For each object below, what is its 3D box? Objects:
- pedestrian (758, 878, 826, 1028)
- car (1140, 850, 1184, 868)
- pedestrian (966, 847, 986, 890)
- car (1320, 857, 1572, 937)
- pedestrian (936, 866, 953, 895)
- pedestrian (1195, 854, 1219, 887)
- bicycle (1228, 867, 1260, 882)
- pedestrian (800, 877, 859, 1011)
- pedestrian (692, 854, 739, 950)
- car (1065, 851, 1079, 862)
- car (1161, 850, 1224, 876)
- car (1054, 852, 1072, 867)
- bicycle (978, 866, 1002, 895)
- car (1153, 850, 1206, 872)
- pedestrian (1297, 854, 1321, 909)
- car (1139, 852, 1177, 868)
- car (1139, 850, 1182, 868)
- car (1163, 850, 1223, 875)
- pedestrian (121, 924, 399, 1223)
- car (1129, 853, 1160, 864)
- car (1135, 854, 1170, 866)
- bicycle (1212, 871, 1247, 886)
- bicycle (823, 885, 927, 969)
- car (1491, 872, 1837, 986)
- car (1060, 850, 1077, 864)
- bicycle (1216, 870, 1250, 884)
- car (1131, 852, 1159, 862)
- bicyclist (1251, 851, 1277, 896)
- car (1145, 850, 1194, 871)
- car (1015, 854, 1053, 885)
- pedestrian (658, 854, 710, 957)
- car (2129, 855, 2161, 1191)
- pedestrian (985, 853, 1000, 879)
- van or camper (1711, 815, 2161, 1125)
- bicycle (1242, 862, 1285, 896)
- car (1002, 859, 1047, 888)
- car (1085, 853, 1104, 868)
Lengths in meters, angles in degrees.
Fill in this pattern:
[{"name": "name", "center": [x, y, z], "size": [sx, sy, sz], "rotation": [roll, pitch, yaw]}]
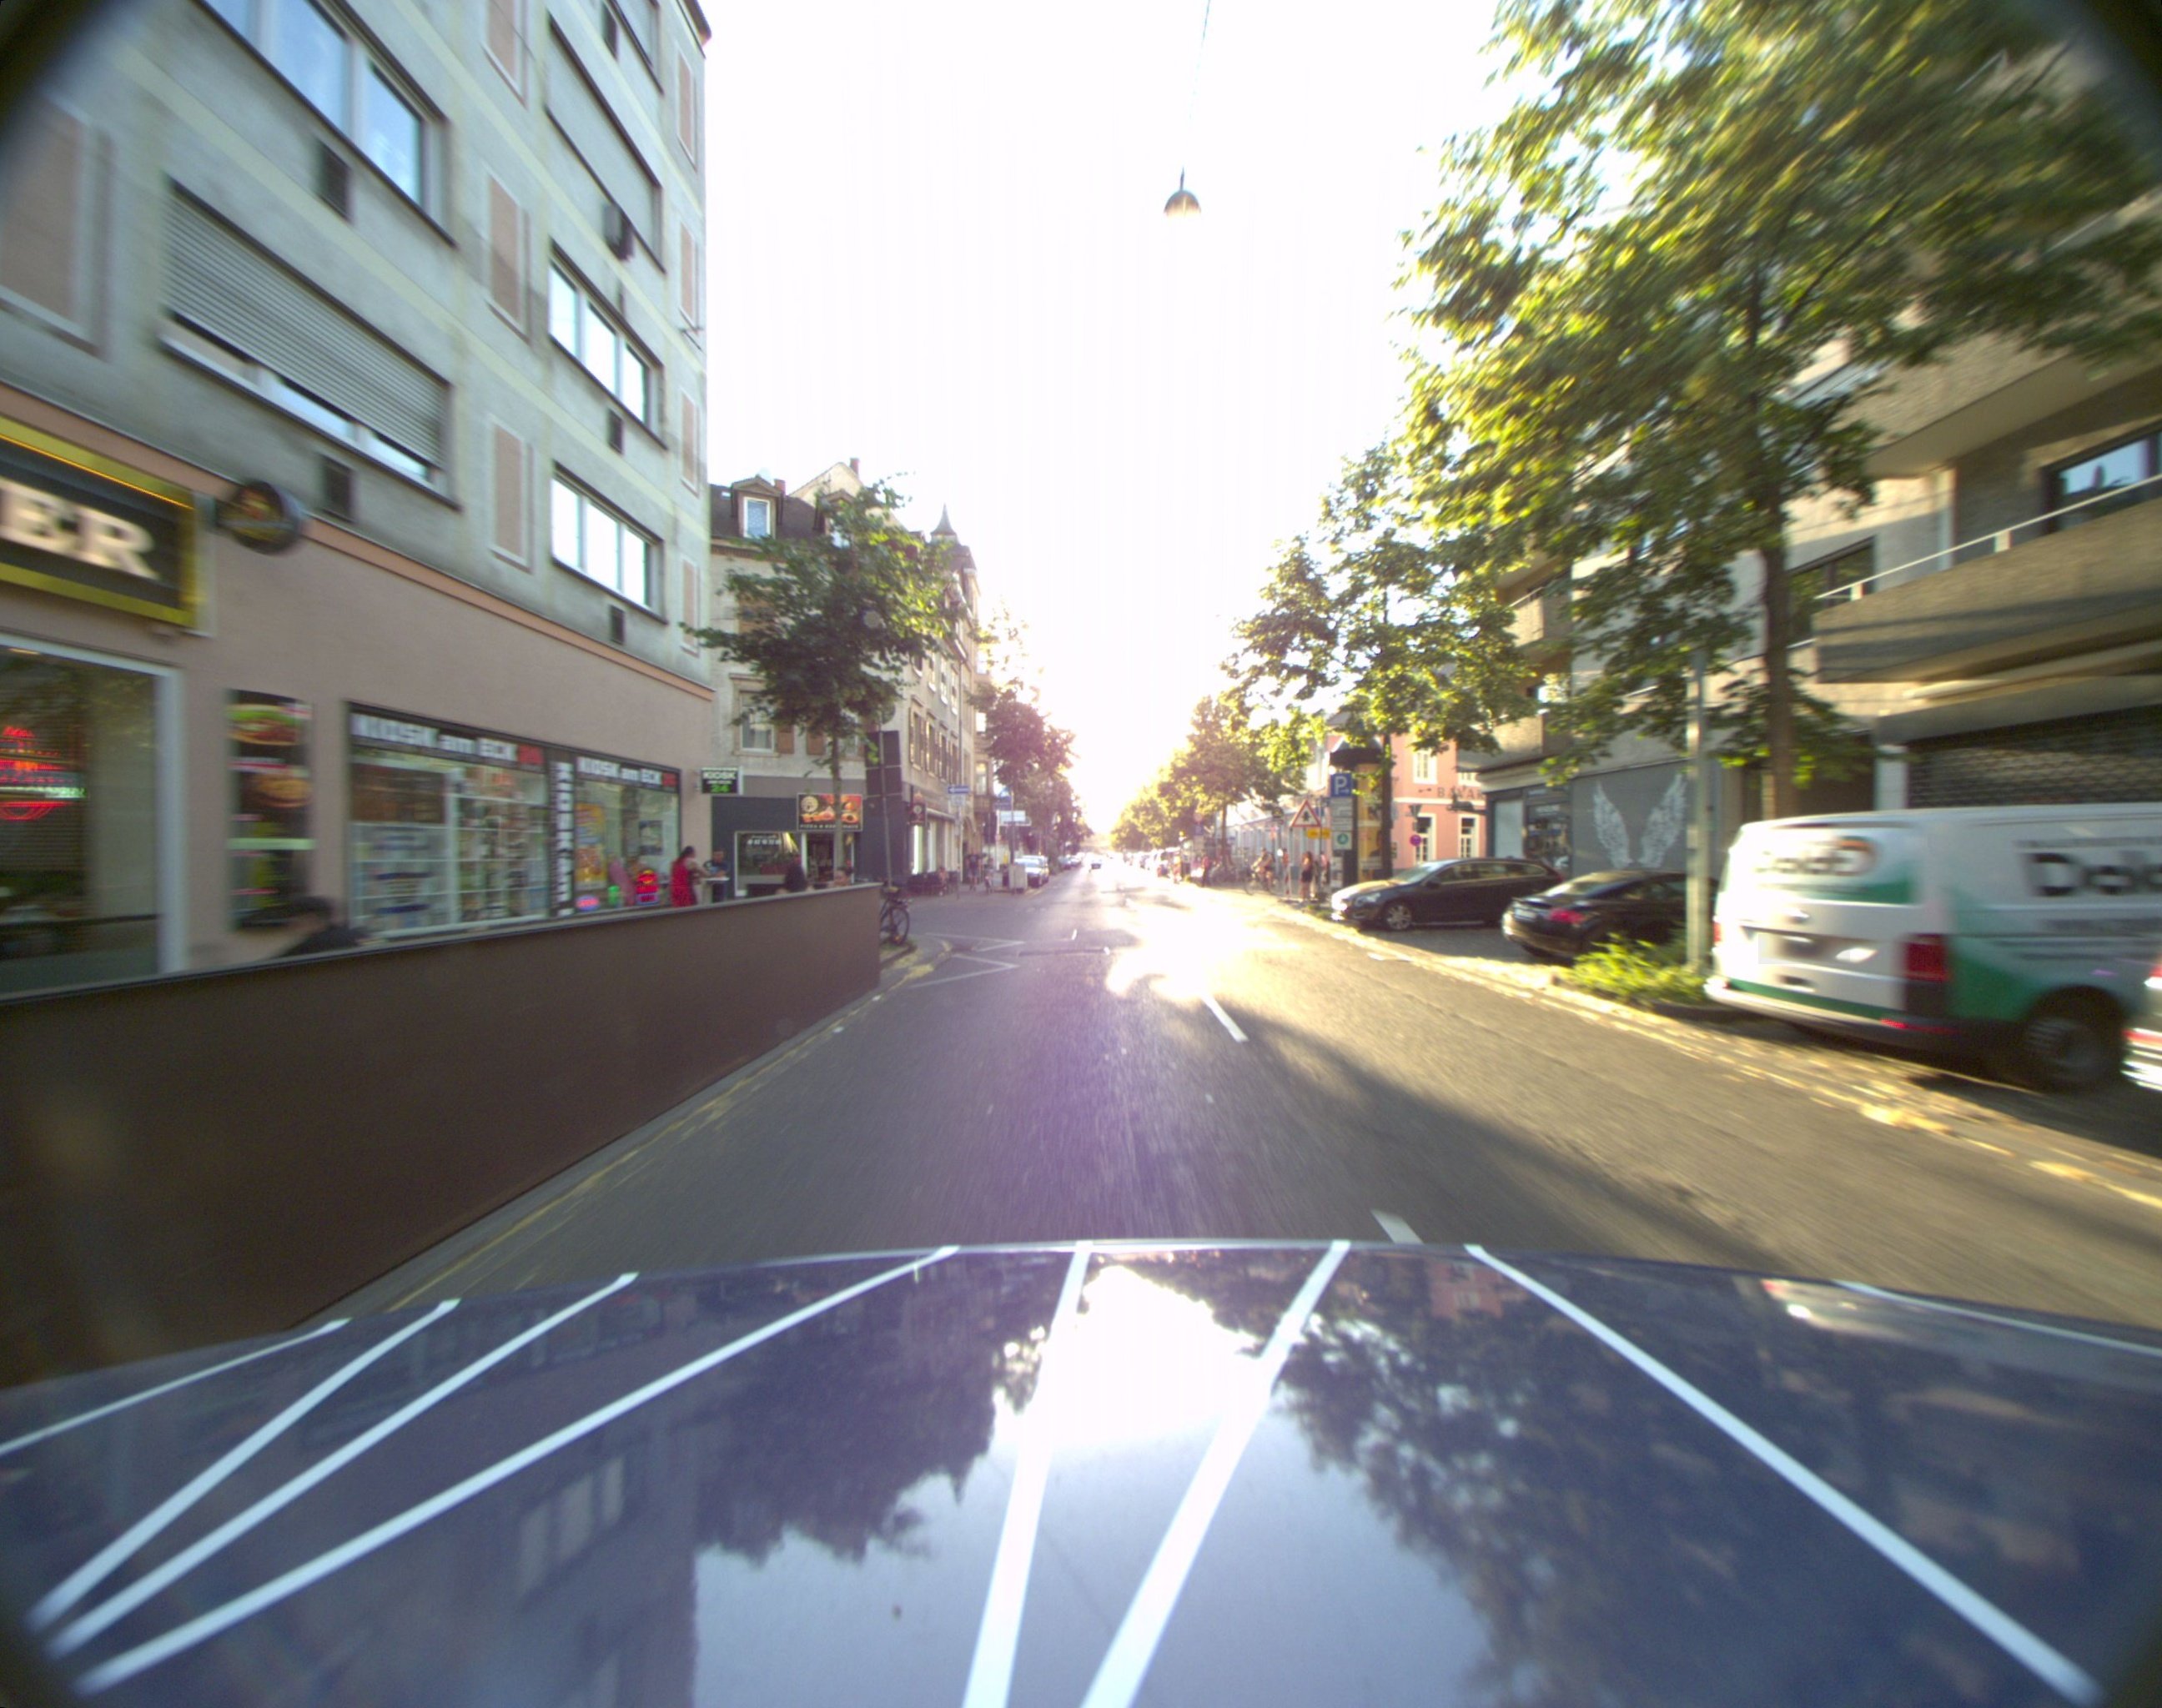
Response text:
[{"name": "pedestrian", "center": [-2.981, 1.001, 7.871], "size": [0.448, 1.472, 0.547], "rotation": [2, 1, 2]}, {"name": "car", "center": [8.638, 0.539, 81.372], "size": [4.439, 1.832, 1.814], "rotation": [-1, 0, 0]}, {"name": "pedestrian", "center": [-4.709, 0.644, 34.101], "size": [0.719, 1.864, 0.756], "rotation": [2, 1, 2]}, {"name": "car", "center": [7.569, 0.862, 16.053], "size": [4.439, 1.516, 1.814], "rotation": [-1, 0, 0]}, {"name": "pedestrian", "center": [-5.527, 1.074, 30.760], "size": [0.551, 1.128, 0.648], "rotation": [2, 1, 2]}, {"name": "pedestrian", "center": [6.380, 0.826, 38.586], "size": [0.898, 1.671, 0.795], "rotation": [-1, 1, -36]}, {"name": "bicycle", "center": [9.145, 1.145, 42.670], "size": [1.801, 0.858, 0.444], "rotation": [0, 1, -23]}, {"name": "pedestrian", "center": [-2.888, 1.016, 8.761], "size": [0.448, 1.472, 0.563], "rotation": [2, 1, 2]}, {"name": "pedestrian", "center": [-6.339, 0.815, 13.190], "size": [0.493, 1.614, 0.573], "rotation": [2, 1, 2]}, {"name": "car", "center": [-1.336, 0.346, 110.133], "size": [1.825, 1.658, 4.155], "rotation": [-1, 0, 2]}, {"name": "car", "center": [8.382, 0.687, 57.402], "size": [4.439, 1.832, 1.814], "rotation": [-1, 0, 0]}, {"name": "car", "center": [-1.959, 0.604, 84.476], "size": [1.825, 1.658, 4.155], "rotation": [-1, 0, 2]}, {"name": "bicycle", "center": [-3.765, 1.082, 31.621], "size": [0.478, 1.101, 2.062], "rotation": [0, 0, 8]}, {"name": "car", "center": [8.721, 0.583, 67.311], "size": [4.439, 1.832, 1.814], "rotation": [-1, 0, 0]}, {"name": "pedestrian", "center": [6.933, 0.815, 23.108], "size": [0.550, 1.638, 0.721], "rotation": [0, 1, 4]}, {"name": "car", "center": [8.678, 0.682, 85.880], "size": [4.151, 1.771, 1.827], "rotation": [0, 0, 1]}, {"name": "car", "center": [8.682, 0.546, 83.388], "size": [4.439, 1.832, 1.814], "rotation": [-1, 0, 0]}, {"name": "car", "center": [8.862, 0.646, 60.185], "size": [4.439, 1.832, 1.814], "rotation": [-1, 0, 0]}, {"name": "pedestrian", "center": [-4.091, 1.045, 3.836], "size": [0.687, 1.298, 0.648], "rotation": [2, 1, 3]}, {"name": "car", "center": [8.771, 0.559, 105.401], "size": [4.151, 1.469, 1.827], "rotation": [-1, 1, 2]}, {"name": "car", "center": [8.822, 0.749, 93.863], "size": [4.152, 1.469, 1.826], "rotation": [0, 0, 0]}, {"name": "bicycle", "center": [7.860, 1.287, 40.143], "size": [1.796, 0.761, 0.408], "rotation": [0, 1, 13]}, {"name": "bicycle", "center": [-3.354, 1.134, 12.262], "size": [2.055, 1.207, 0.479], "rotation": [0, 1, 38]}, {"name": "car", "center": [7.912, 0.995, 10.574], "size": [3.582, 1.405, 1.512], "rotation": [0, 1, 3]}, {"name": "car", "center": [-1.441, 0.380, 91.258], "size": [1.825, 1.658, 4.155], "rotation": [-1, 0, 2]}, {"name": "bicycle", "center": [8.235, 1.260, 41.171], "size": [1.796, 0.761, 0.408], "rotation": [0, 1, 13]}, {"name": "car", "center": [9.817, 0.494, 116.120], "size": [4.151, 1.469, 1.827], "rotation": [0, 0, 2]}, {"name": "bicyclist", "center": [7.385, 0.785, 30.643], "size": [0.873, 1.783, 0.536], "rotation": [-1, 1, -24]}, {"name": "car", "center": [8.287, 0.591, 71.494], "size": [4.439, 1.832, 1.814], "rotation": [-1, 0, 0]}, {"name": "car", "center": [-2.691, 0.840, 44.109], "size": [1.825, 1.658, 4.155], "rotation": [-1, 0, 2]}, {"name": "pedestrian", "center": [-6.409, 0.821, 12.286], "size": [0.493, 1.614, 0.573], "rotation": [2, 1, 2]}, {"name": "car", "center": [7.393, 0.835, 2.884], "size": [4.192, 1.659, 1.732], "rotation": [0, 1, 3]}, {"name": "pedestrian", "center": [-5.415, 0.731, 46.467], "size": [0.719, 1.565, 0.756], "rotation": [2, 1, 2]}, {"name": "van or camper", "center": [7.665, 0.723, 5.609], "size": [4.469, 1.945, 1.789], "rotation": [0, 0, 2]}, {"name": "bicycle", "center": [7.370, 0.990, 30.642], "size": [1.832, 1.335, 0.405], "rotation": [0, 1, -24]}, {"name": "car", "center": [-2.845, 0.967, 38.941], "size": [1.825, 1.344, 4.155], "rotation": [-1, 0, 2]}, {"name": "car", "center": [1.423, 0.605, 77.603], "size": [1.825, 1.469, 4.155], "rotation": [-1, 0, 2]}]
